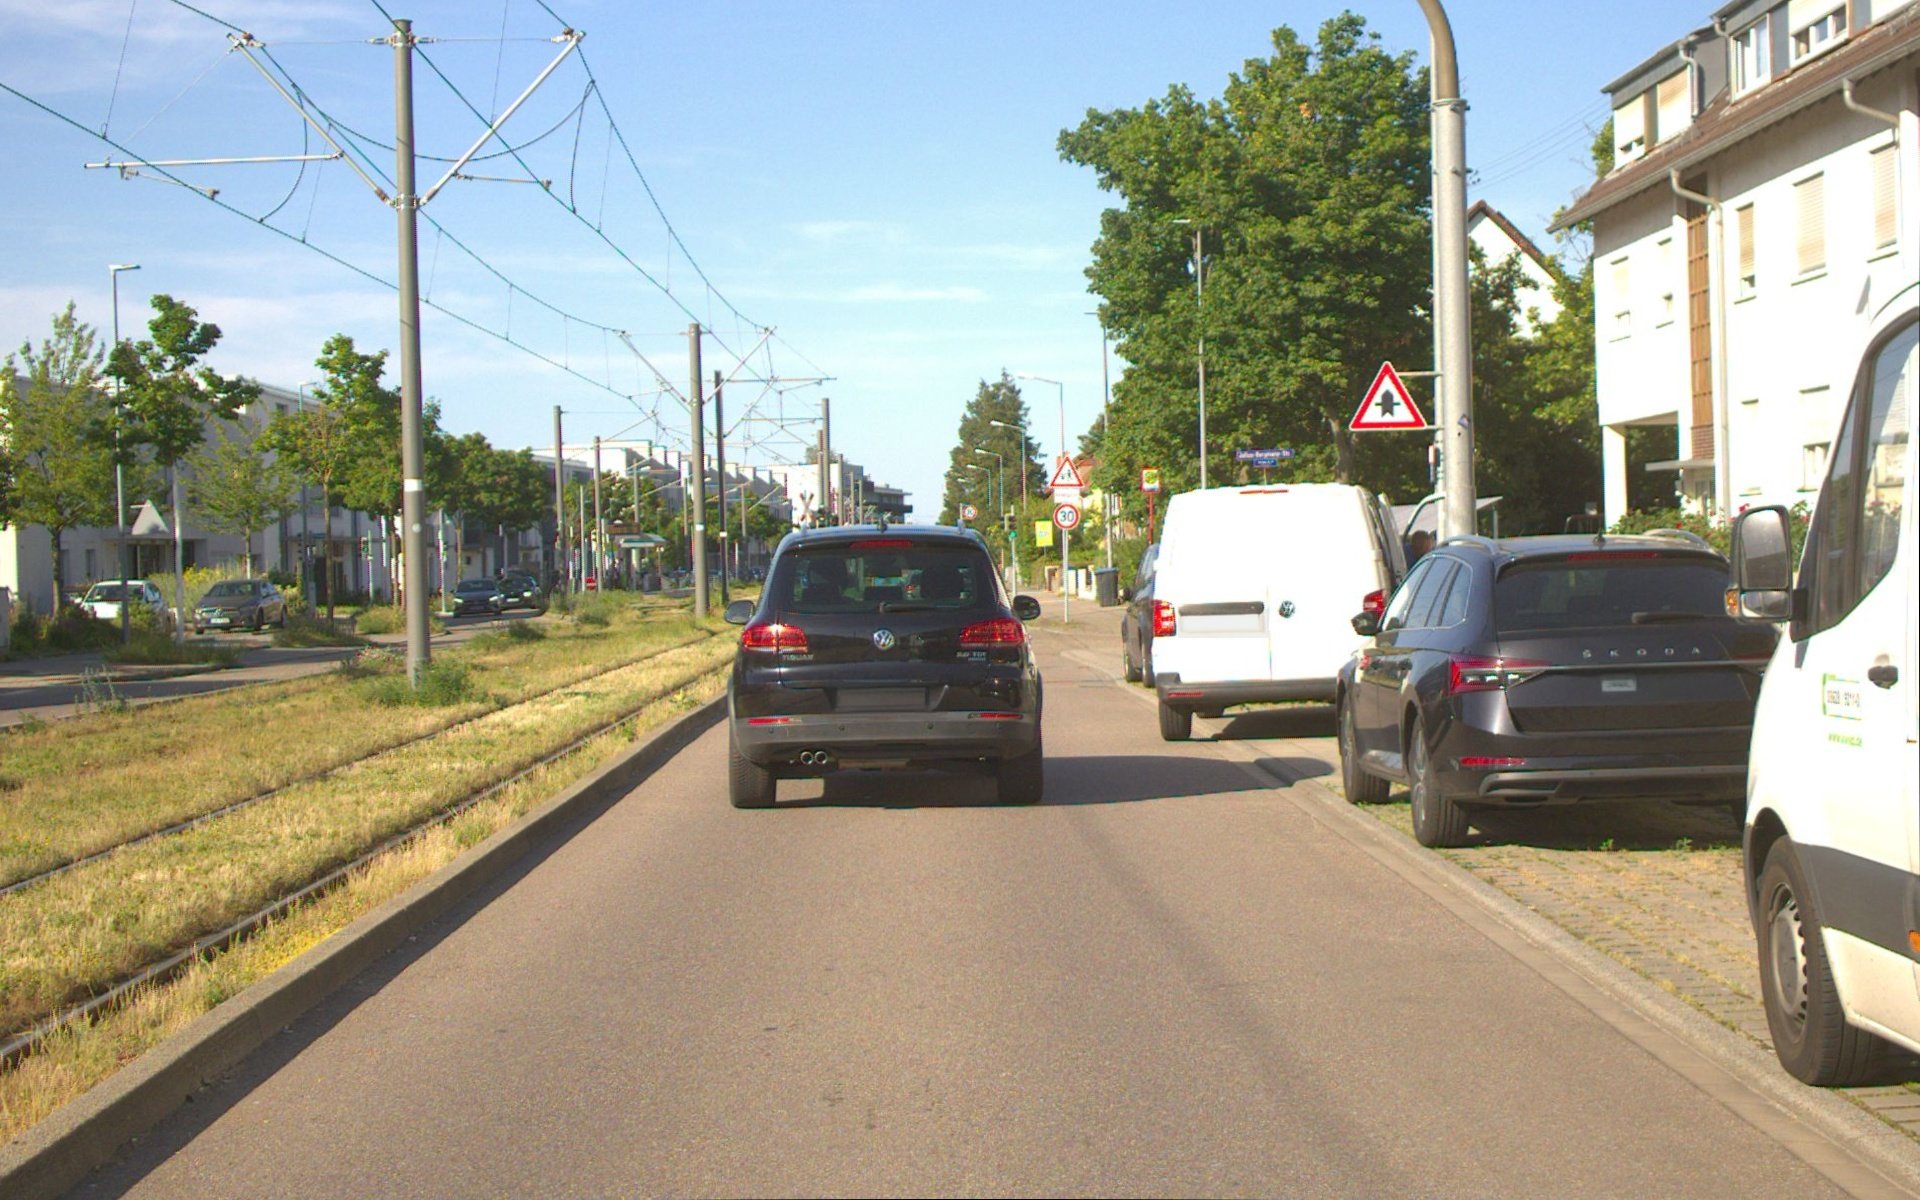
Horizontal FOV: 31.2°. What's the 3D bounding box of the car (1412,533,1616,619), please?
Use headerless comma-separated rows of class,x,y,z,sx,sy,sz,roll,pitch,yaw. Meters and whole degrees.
car,10.525,-0.445,65.448,3.594,1.525,1.647,-1,0,1

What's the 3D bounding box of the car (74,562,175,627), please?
car,-19.463,-0.137,80.211,1.544,1.486,3.775,0,0,-2

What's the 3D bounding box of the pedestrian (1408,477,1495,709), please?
pedestrian,4.104,-0.063,28.734,0.699,1.906,0.758,0,0,8

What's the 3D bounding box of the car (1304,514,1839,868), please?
car,2.973,0.384,17.835,1.748,1.489,5.155,-3,0,0

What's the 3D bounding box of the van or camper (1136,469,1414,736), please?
van or camper,2.684,-0.029,28.334,2.028,1.949,5.293,-1,1,7

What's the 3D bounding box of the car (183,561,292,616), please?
car,-19.621,-0.316,93.498,1.811,1.456,4.317,0,0,4

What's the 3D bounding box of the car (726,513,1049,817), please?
car,-0.468,0.343,21.200,1.775,1.664,4.000,-1,1,-2

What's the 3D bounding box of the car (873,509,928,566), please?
car,-2.740,-2.879,159.150,2.394,2.556,5.530,-1,1,0

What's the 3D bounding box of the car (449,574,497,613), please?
car,-18.312,-0.247,129.399,1.688,1.384,4.389,-3,1,-7

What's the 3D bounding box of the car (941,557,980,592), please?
car,0.015,-1.282,171.368,1.775,1.664,4.000,-1,1,-3

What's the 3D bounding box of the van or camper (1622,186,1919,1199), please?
van or camper,3.125,0.187,7.510,1.993,2.263,6.305,-3,0,0

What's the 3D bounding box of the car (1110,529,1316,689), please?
car,2.832,0.055,39.482,1.791,1.623,4.861,-3,1,-2
